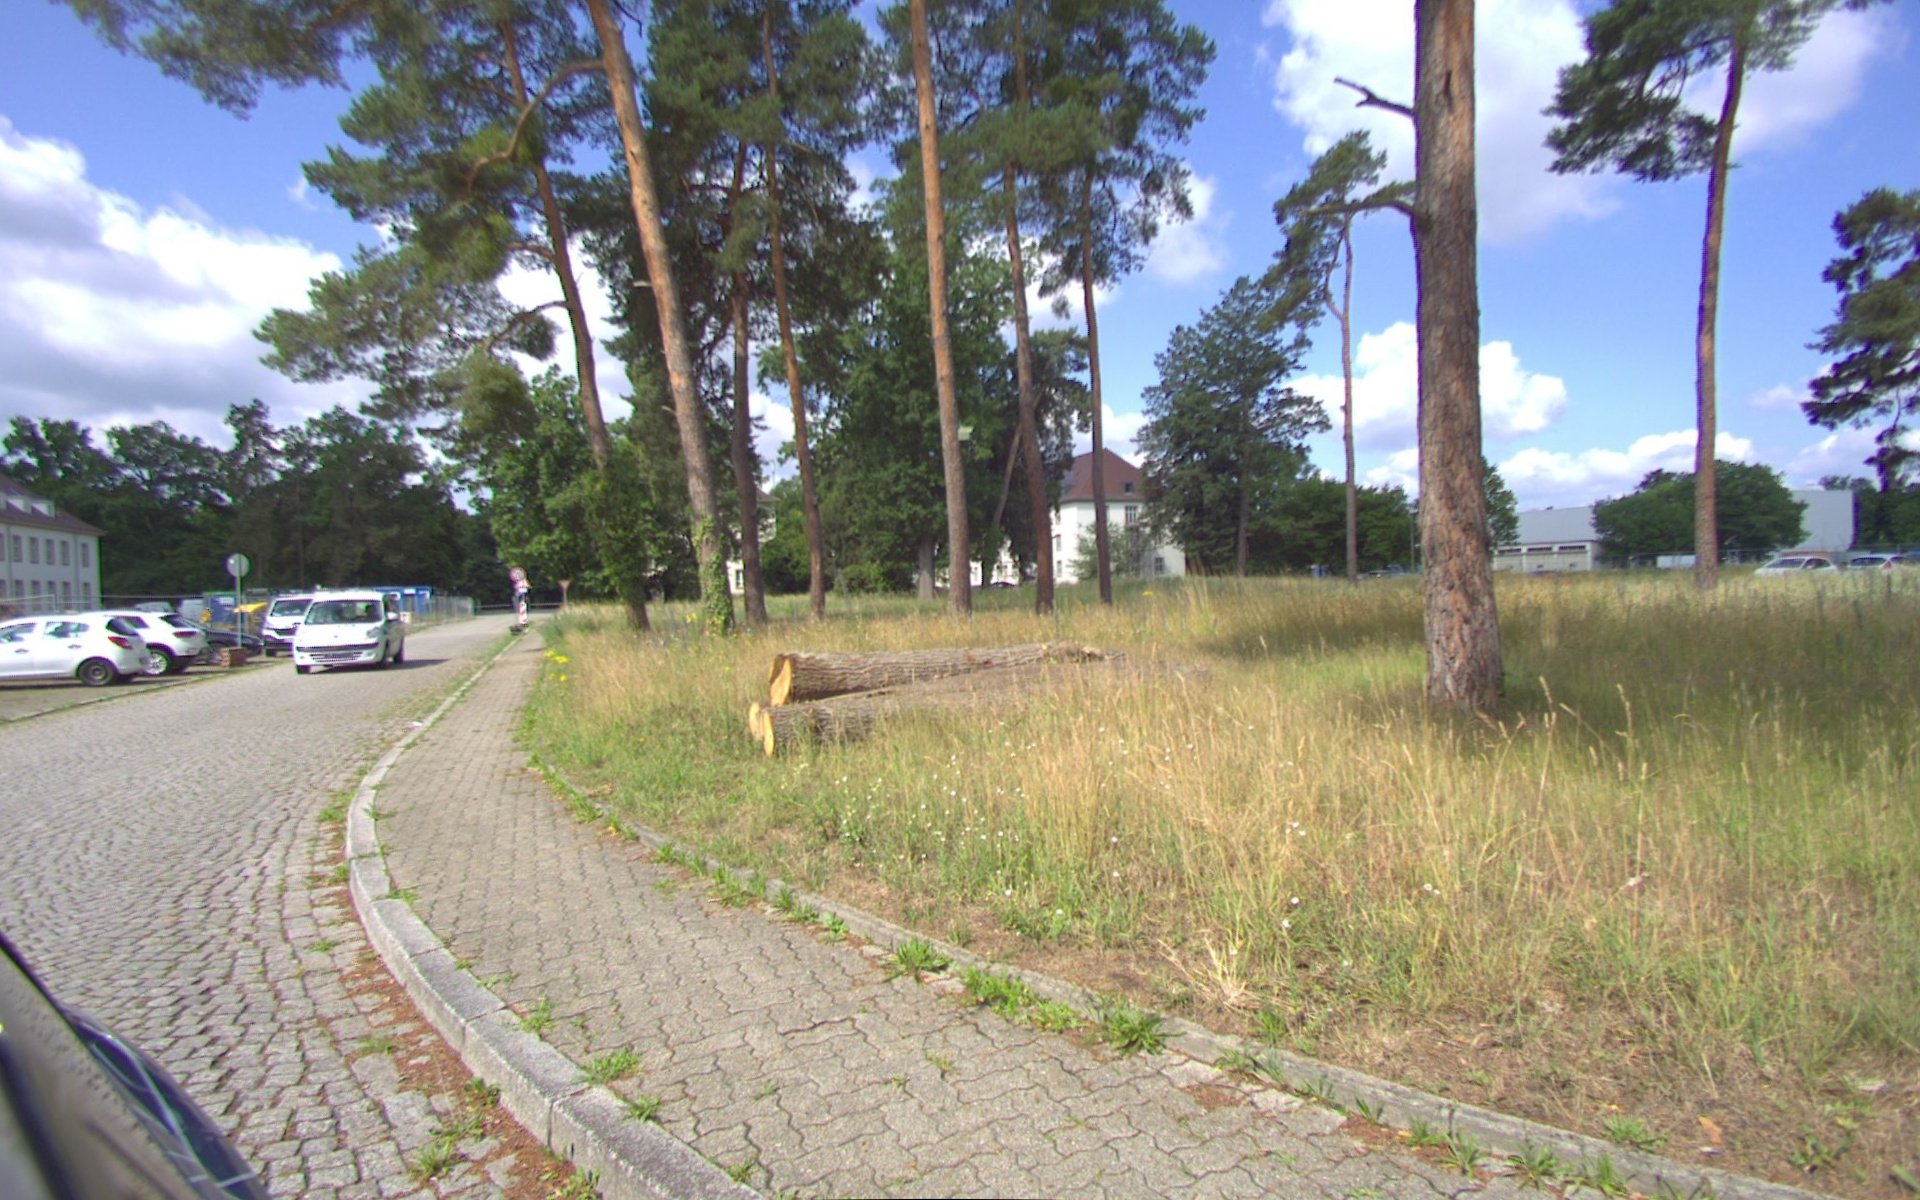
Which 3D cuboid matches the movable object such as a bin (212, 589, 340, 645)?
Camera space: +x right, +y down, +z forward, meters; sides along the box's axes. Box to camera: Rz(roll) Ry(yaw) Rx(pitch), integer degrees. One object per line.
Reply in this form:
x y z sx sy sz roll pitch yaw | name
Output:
-33.813 0.812 50.256 2.123 2.541 5.645 -1 0 6 | movable object such as a bin

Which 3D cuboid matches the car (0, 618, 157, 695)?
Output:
-19.288 1.146 20.869 3.985 1.475 1.710 -1 0 -24 | car

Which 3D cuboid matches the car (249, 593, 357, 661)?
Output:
-22.258 0.837 34.538 1.887 2.069 5.697 -2 1 -21 | car

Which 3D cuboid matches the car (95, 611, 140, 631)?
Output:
-81.471 1.988 97.887 1.853 1.741 4.723 -2 1 -21 | car

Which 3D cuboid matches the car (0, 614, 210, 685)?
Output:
-20.245 1.119 23.783 3.930 1.518 1.752 -1 0 -24 | car

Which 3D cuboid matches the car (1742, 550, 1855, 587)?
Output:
34.388 -1.293 41.519 4.001 1.359 1.907 -2 1 -23 | car

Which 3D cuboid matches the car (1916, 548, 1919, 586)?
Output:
36.148 -1.238 35.791 4.008 1.330 1.907 -2 1 -23 | car

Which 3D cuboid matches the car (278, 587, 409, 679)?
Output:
-14.369 0.724 23.863 1.809 1.883 4.846 -2 0 -22 | car

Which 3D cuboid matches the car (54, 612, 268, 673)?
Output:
-21.983 1.127 28.082 4.391 1.486 1.751 -1 0 -26 | car

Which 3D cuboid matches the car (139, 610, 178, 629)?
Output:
-78.509 1.913 99.162 1.772 1.696 4.053 -2 1 -21 | car

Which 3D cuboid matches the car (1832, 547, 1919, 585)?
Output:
35.601 -1.309 38.620 4.008 1.349 1.907 -2 1 -23 | car
